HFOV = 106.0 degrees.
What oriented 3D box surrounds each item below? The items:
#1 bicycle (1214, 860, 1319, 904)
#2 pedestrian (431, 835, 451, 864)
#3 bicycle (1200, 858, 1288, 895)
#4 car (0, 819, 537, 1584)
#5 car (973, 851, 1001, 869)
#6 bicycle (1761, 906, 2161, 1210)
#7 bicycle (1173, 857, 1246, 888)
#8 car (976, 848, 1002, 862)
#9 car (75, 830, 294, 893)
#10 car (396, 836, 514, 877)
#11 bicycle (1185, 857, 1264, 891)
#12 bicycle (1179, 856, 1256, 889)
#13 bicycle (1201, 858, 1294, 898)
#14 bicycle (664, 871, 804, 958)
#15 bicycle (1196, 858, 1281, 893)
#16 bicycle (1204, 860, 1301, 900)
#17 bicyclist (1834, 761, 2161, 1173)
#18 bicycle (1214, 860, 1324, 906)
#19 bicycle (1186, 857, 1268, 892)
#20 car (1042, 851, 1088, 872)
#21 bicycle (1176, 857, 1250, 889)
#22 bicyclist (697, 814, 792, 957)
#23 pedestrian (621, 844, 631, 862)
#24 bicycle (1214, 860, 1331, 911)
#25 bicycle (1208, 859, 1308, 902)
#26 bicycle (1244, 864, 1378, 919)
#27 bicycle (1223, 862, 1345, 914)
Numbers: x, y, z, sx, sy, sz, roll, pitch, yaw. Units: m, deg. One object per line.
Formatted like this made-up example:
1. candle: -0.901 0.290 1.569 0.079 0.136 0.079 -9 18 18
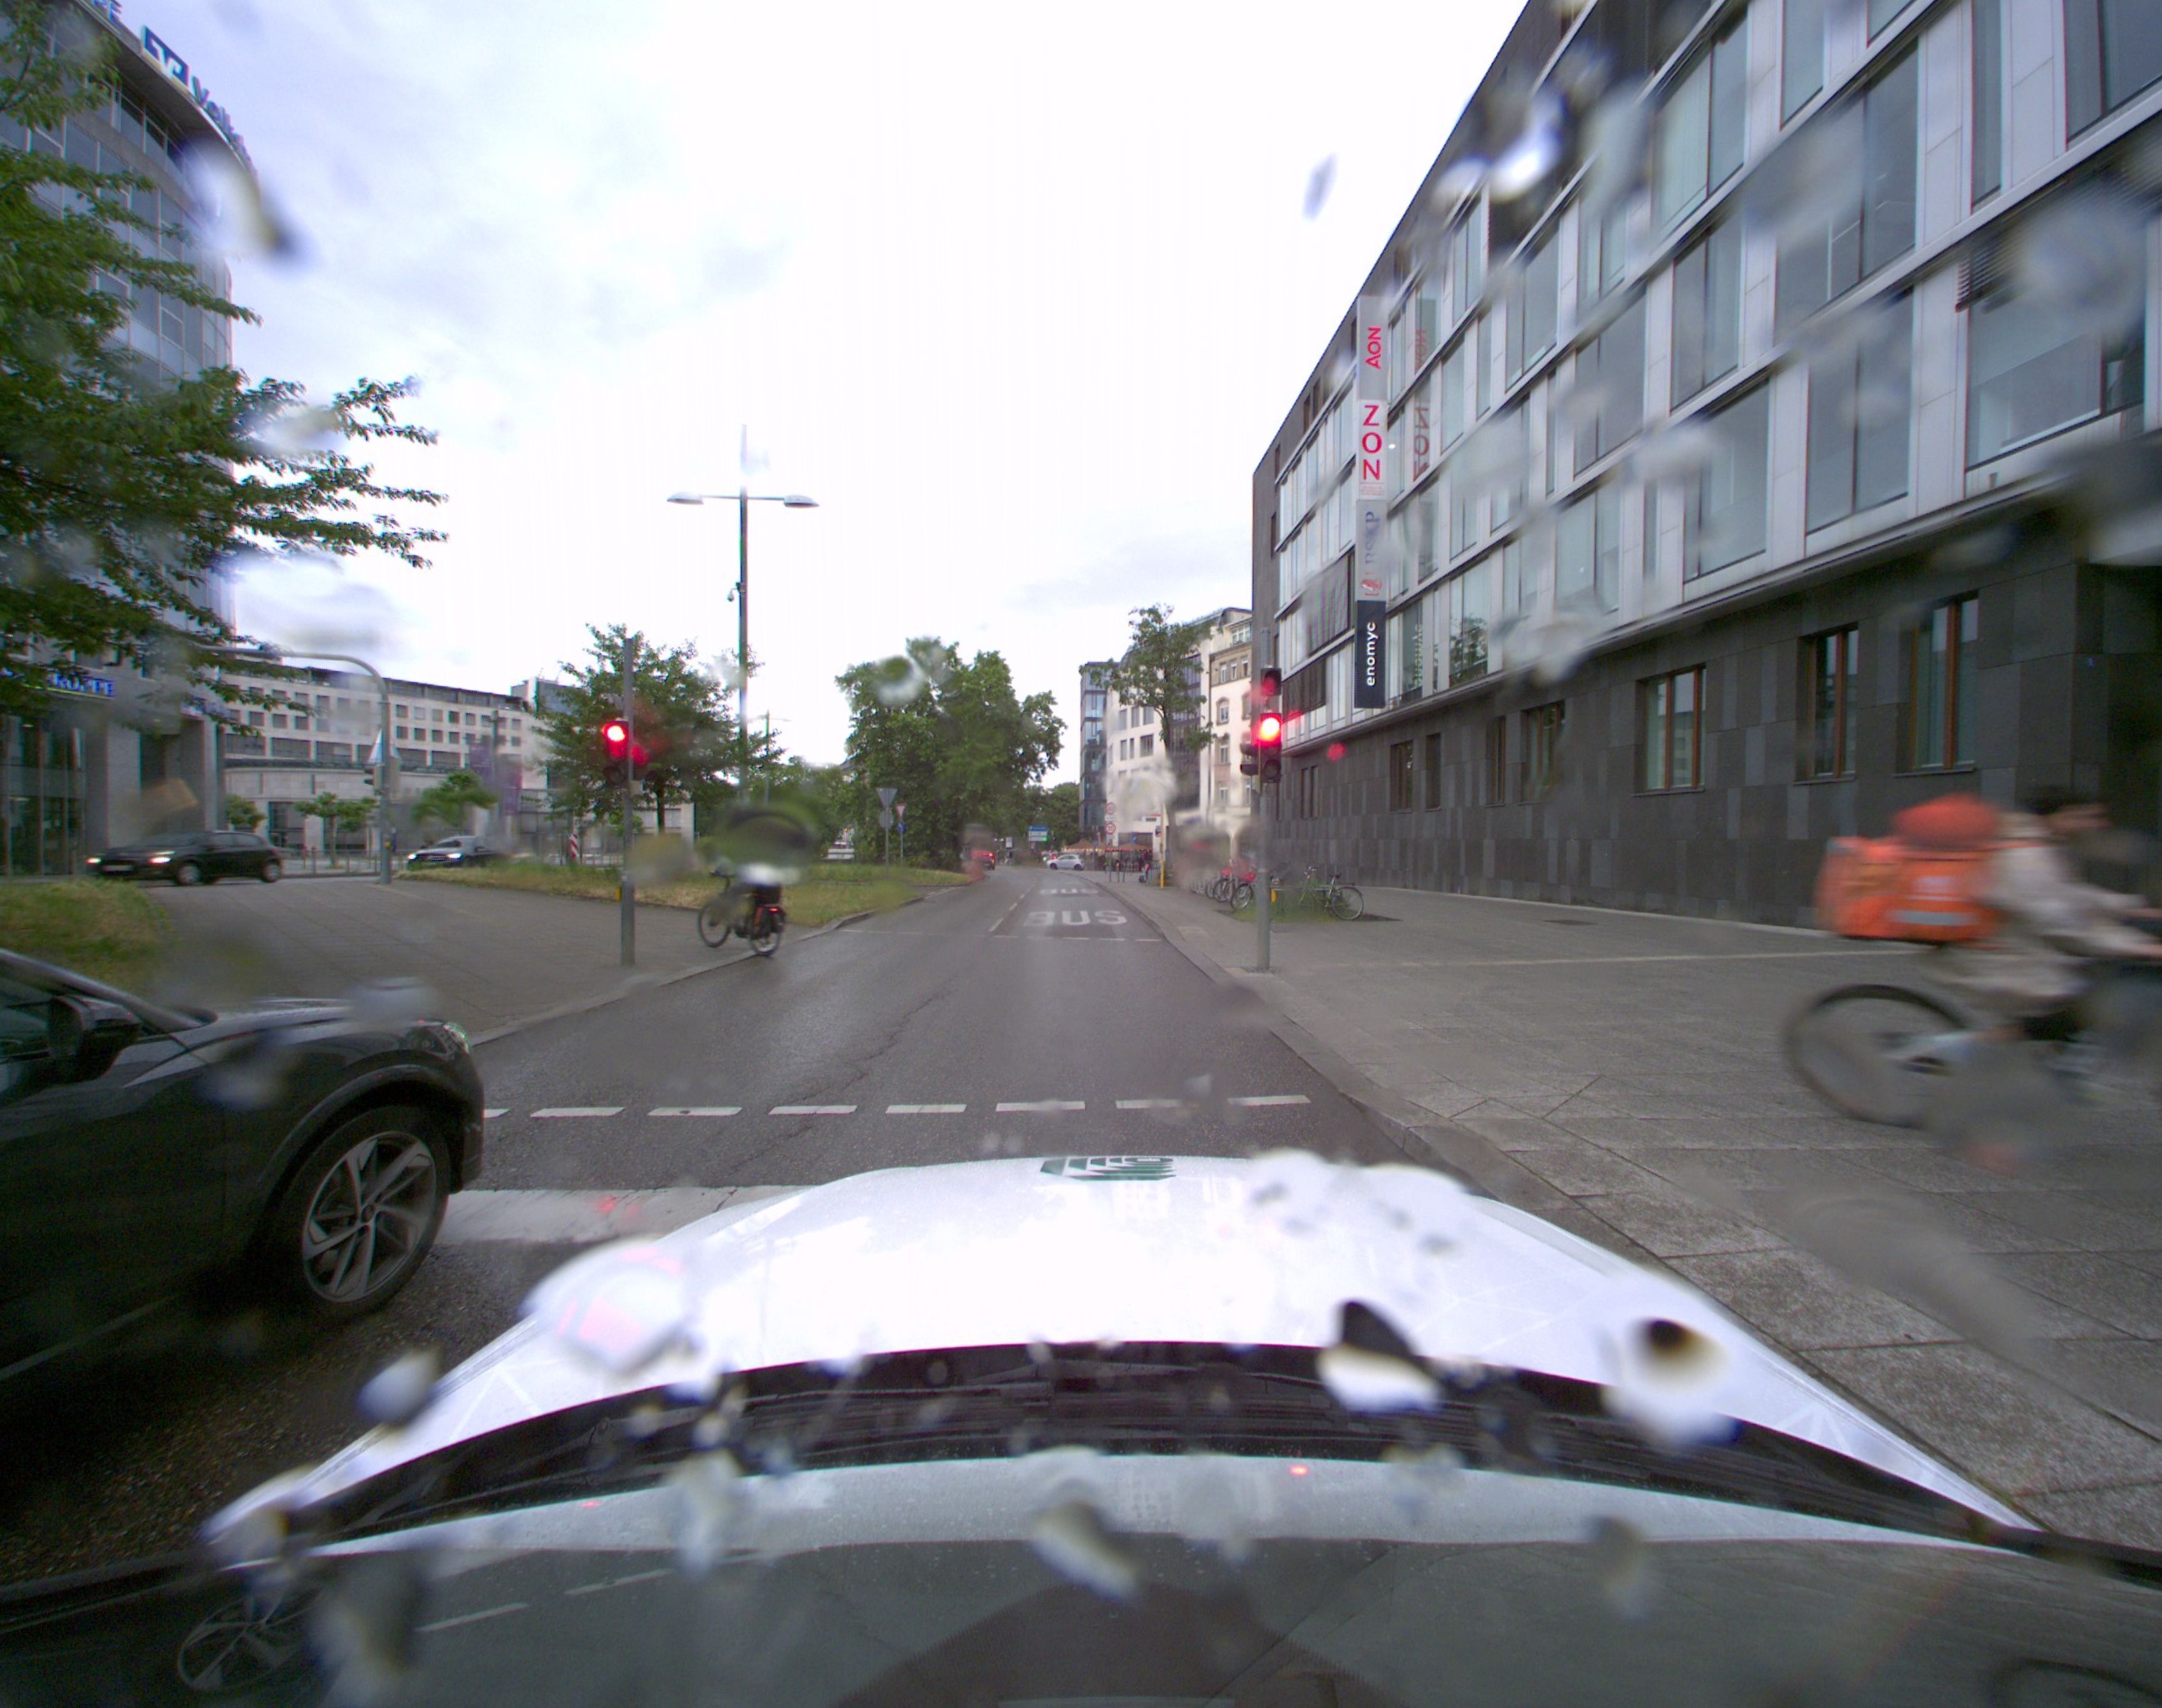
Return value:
1. bicycle: 4.722 0.700 20.837 2.530 1.087 0.677 -1 0 -3
2. pedestrian: -38.815 -0.265 49.391 0.620 1.763 0.722 -2 0 -14
3. bicycle: 4.913 0.668 24.618 2.530 1.087 0.677 -1 0 -3
4. car: -3.179 0.725 1.305 1.843 1.616 4.249 1 1 -2
5. car: -9.262 0.571 79.594 2.165 1.706 4.532 0 0 -14
6. bicycle: 4.380 0.827 3.610 2.041 1.114 1.018 -1 -3 43
7. bicycle: 4.648 0.663 29.556 2.530 1.087 0.627 -1 0 -3
8. car: -11.053 0.086 97.370 2.187 1.700 3.972 0 0 -21
9. car: -23.677 0.189 21.776 1.805 1.486 3.986 2 0 -10
10. car: -25.402 0.090 33.256 1.803 1.486 4.372 2 0 -8
11. bicycle: 4.779 0.651 27.193 2.530 1.087 0.677 -1 0 -3
12. bicycle: 4.683 0.641 28.085 2.530 1.087 0.677 -1 0 -3
13. bicycle: 4.783 0.683 23.424 2.530 1.087 0.677 -1 0 -3
14. bicycle: -5.446 0.908 12.751 2.107 1.145 0.767 3 1 26
15. bicycle: 4.932 0.667 25.597 2.530 1.087 0.677 -1 0 -3
16. bicycle: 4.725 0.698 22.516 2.530 1.060 0.677 -1 0 -3
17. bicyclist: 4.249 0.435 3.734 1.122 1.582 1.021 2 -1 42
18. bicycle: 4.596 0.700 19.985 2.530 1.087 0.677 -1 0 -3
19. bicycle: 4.720 0.667 26.442 2.530 1.087 0.677 -1 0 -3
20. car: -1.481 0.738 76.833 3.965 1.647 2.005 4 0 8
21. bicycle: 4.660 0.653 28.834 2.530 1.087 0.677 -1 0 -3
22. bicyclist: -5.216 0.453 12.639 1.072 2.082 0.767 3 1 26
23. pedestrian: -51.258 -0.121 91.717 0.792 2.014 0.735 2 -1 -23
24. bicycle: 4.398 0.718 18.763 2.530 1.087 0.677 2 0 -3
25. bicycle: 4.691 0.696 21.649 2.530 1.087 0.677 -1 0 -3
26. bicycle: 4.629 0.744 16.475 2.530 1.057 0.677 0 0 -3
27. bicycle: 4.450 0.736 17.958 2.530 1.087 0.677 0 0 -3
